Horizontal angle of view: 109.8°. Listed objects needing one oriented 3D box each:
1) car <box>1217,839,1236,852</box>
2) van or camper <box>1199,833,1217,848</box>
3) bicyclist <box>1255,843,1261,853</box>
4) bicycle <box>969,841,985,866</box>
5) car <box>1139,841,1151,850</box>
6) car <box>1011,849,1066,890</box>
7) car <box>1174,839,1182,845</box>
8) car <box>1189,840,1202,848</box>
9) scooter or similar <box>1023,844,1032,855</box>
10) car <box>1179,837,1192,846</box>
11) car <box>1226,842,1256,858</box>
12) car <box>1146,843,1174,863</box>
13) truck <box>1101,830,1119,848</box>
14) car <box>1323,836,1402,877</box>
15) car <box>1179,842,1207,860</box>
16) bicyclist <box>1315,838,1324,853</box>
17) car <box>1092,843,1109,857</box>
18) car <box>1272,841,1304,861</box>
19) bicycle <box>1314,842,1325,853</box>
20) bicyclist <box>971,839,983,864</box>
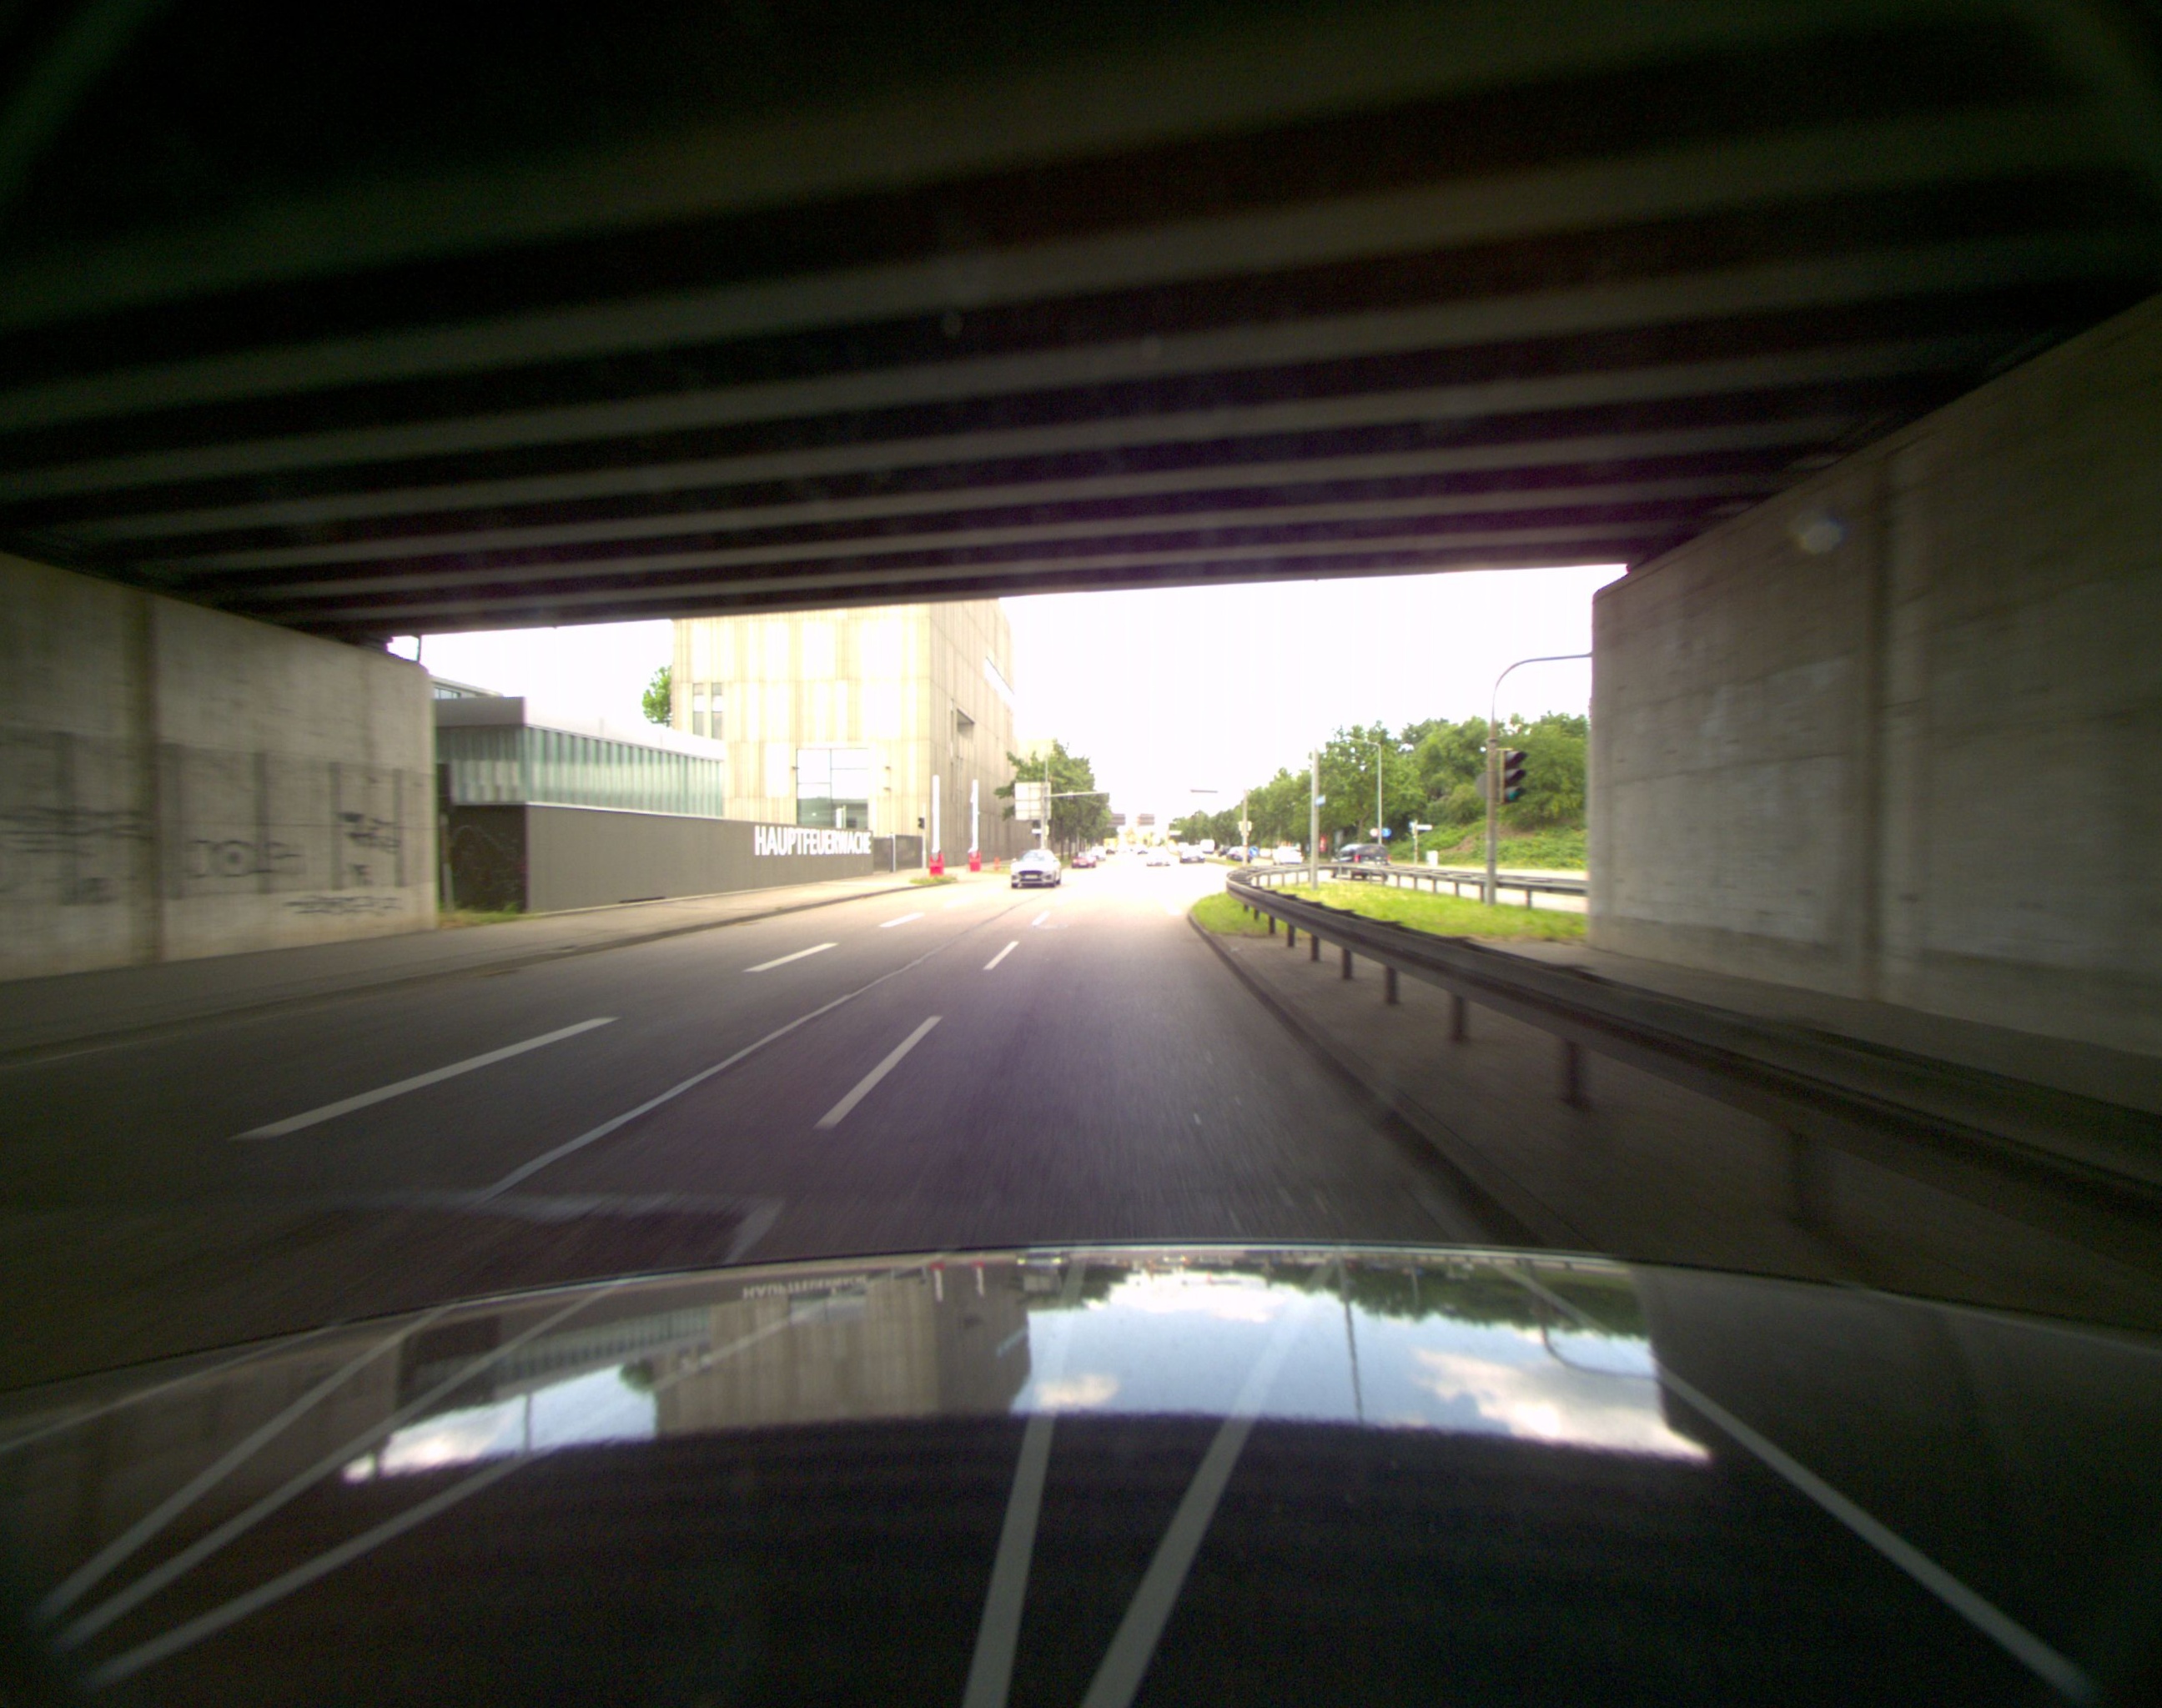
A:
[{"bbox_3d":[20.683,-1.231,108.033,1.998,1.756,4.220,0,1,3],"label":"car"},{"bbox_3d":[22.443,-2.399,134.734,2.357,2.525,7.064,-1,1,3],"label":"van or camper"},{"bbox_3d":[29.596,-1.063,126.875,0.740,1.648,0.980,0,1,-1],"label":"bicyclist"},{"bbox_3d":[-7.387,-0.069,54.081,0.721,1.764,2.533,0,1,0],"label":"bicycle"},{"bbox_3d":[10.377,-1.370,123.718,1.782,1.487,3.599,1,1,4],"label":"car"},{"bbox_3d":[-1.719,0.604,31.930,1.823,1.565,3.954,-2,1,4],"label":"car"},{"bbox_3d":[25.806,-3.229,202.174,1.998,1.423,5.024,0,1,4],"label":"car"},{"bbox_3d":[25.140,-2.151,166.876,1.998,1.791,4.408,0,1,0],"label":"car"},{"bbox_3d":[-6.569,-0.566,93.670,0.706,1.239,2.480,1,1,4],"label":"scooter or similar"},{"bbox_3d":[21.663,-2.595,158.004,2.195,1.952,5.193,1,1,2],"label":"car"},{"bbox_3d":[14.931,-0.412,71.140,1.978,1.381,4.781,1,1,4],"label":"car"},{"bbox_3d":[6.142,-0.100,59.434,1.919,1.406,4.296,-2,1,4],"label":"car"},{"bbox_3d":[5.214,-2.631,135.915,3.065,3.095,7.936,1,1,4],"label":"truck"},{"bbox_3d":[12.864,0.064,35.011,1.998,1.749,4.716,0,1,2],"label":"car"},{"bbox_3d":[9.599,-0.289,65.264,1.998,1.407,4.832,-1,1,4],"label":"car"},{"bbox_3d":[29.439,-1.042,93.731,0.894,1.737,0.997,-1,2,4],"label":"bicyclist"},{"bbox_3d":[2.225,-0.438,86.068,1.713,1.487,3.651,1,1,4],"label":"car"},{"bbox_3d":[17.601,-0.301,64.752,1.810,1.623,4.393,0,1,4],"label":"car"},{"bbox_3d":[29.484,-0.774,94.032,0.823,1.263,2.393,-1,1,4],"label":"bicycle"},{"bbox_3d":[-7.389,-0.192,54.071,0.717,1.759,0.988,0,1,0],"label":"bicyclist"}]
